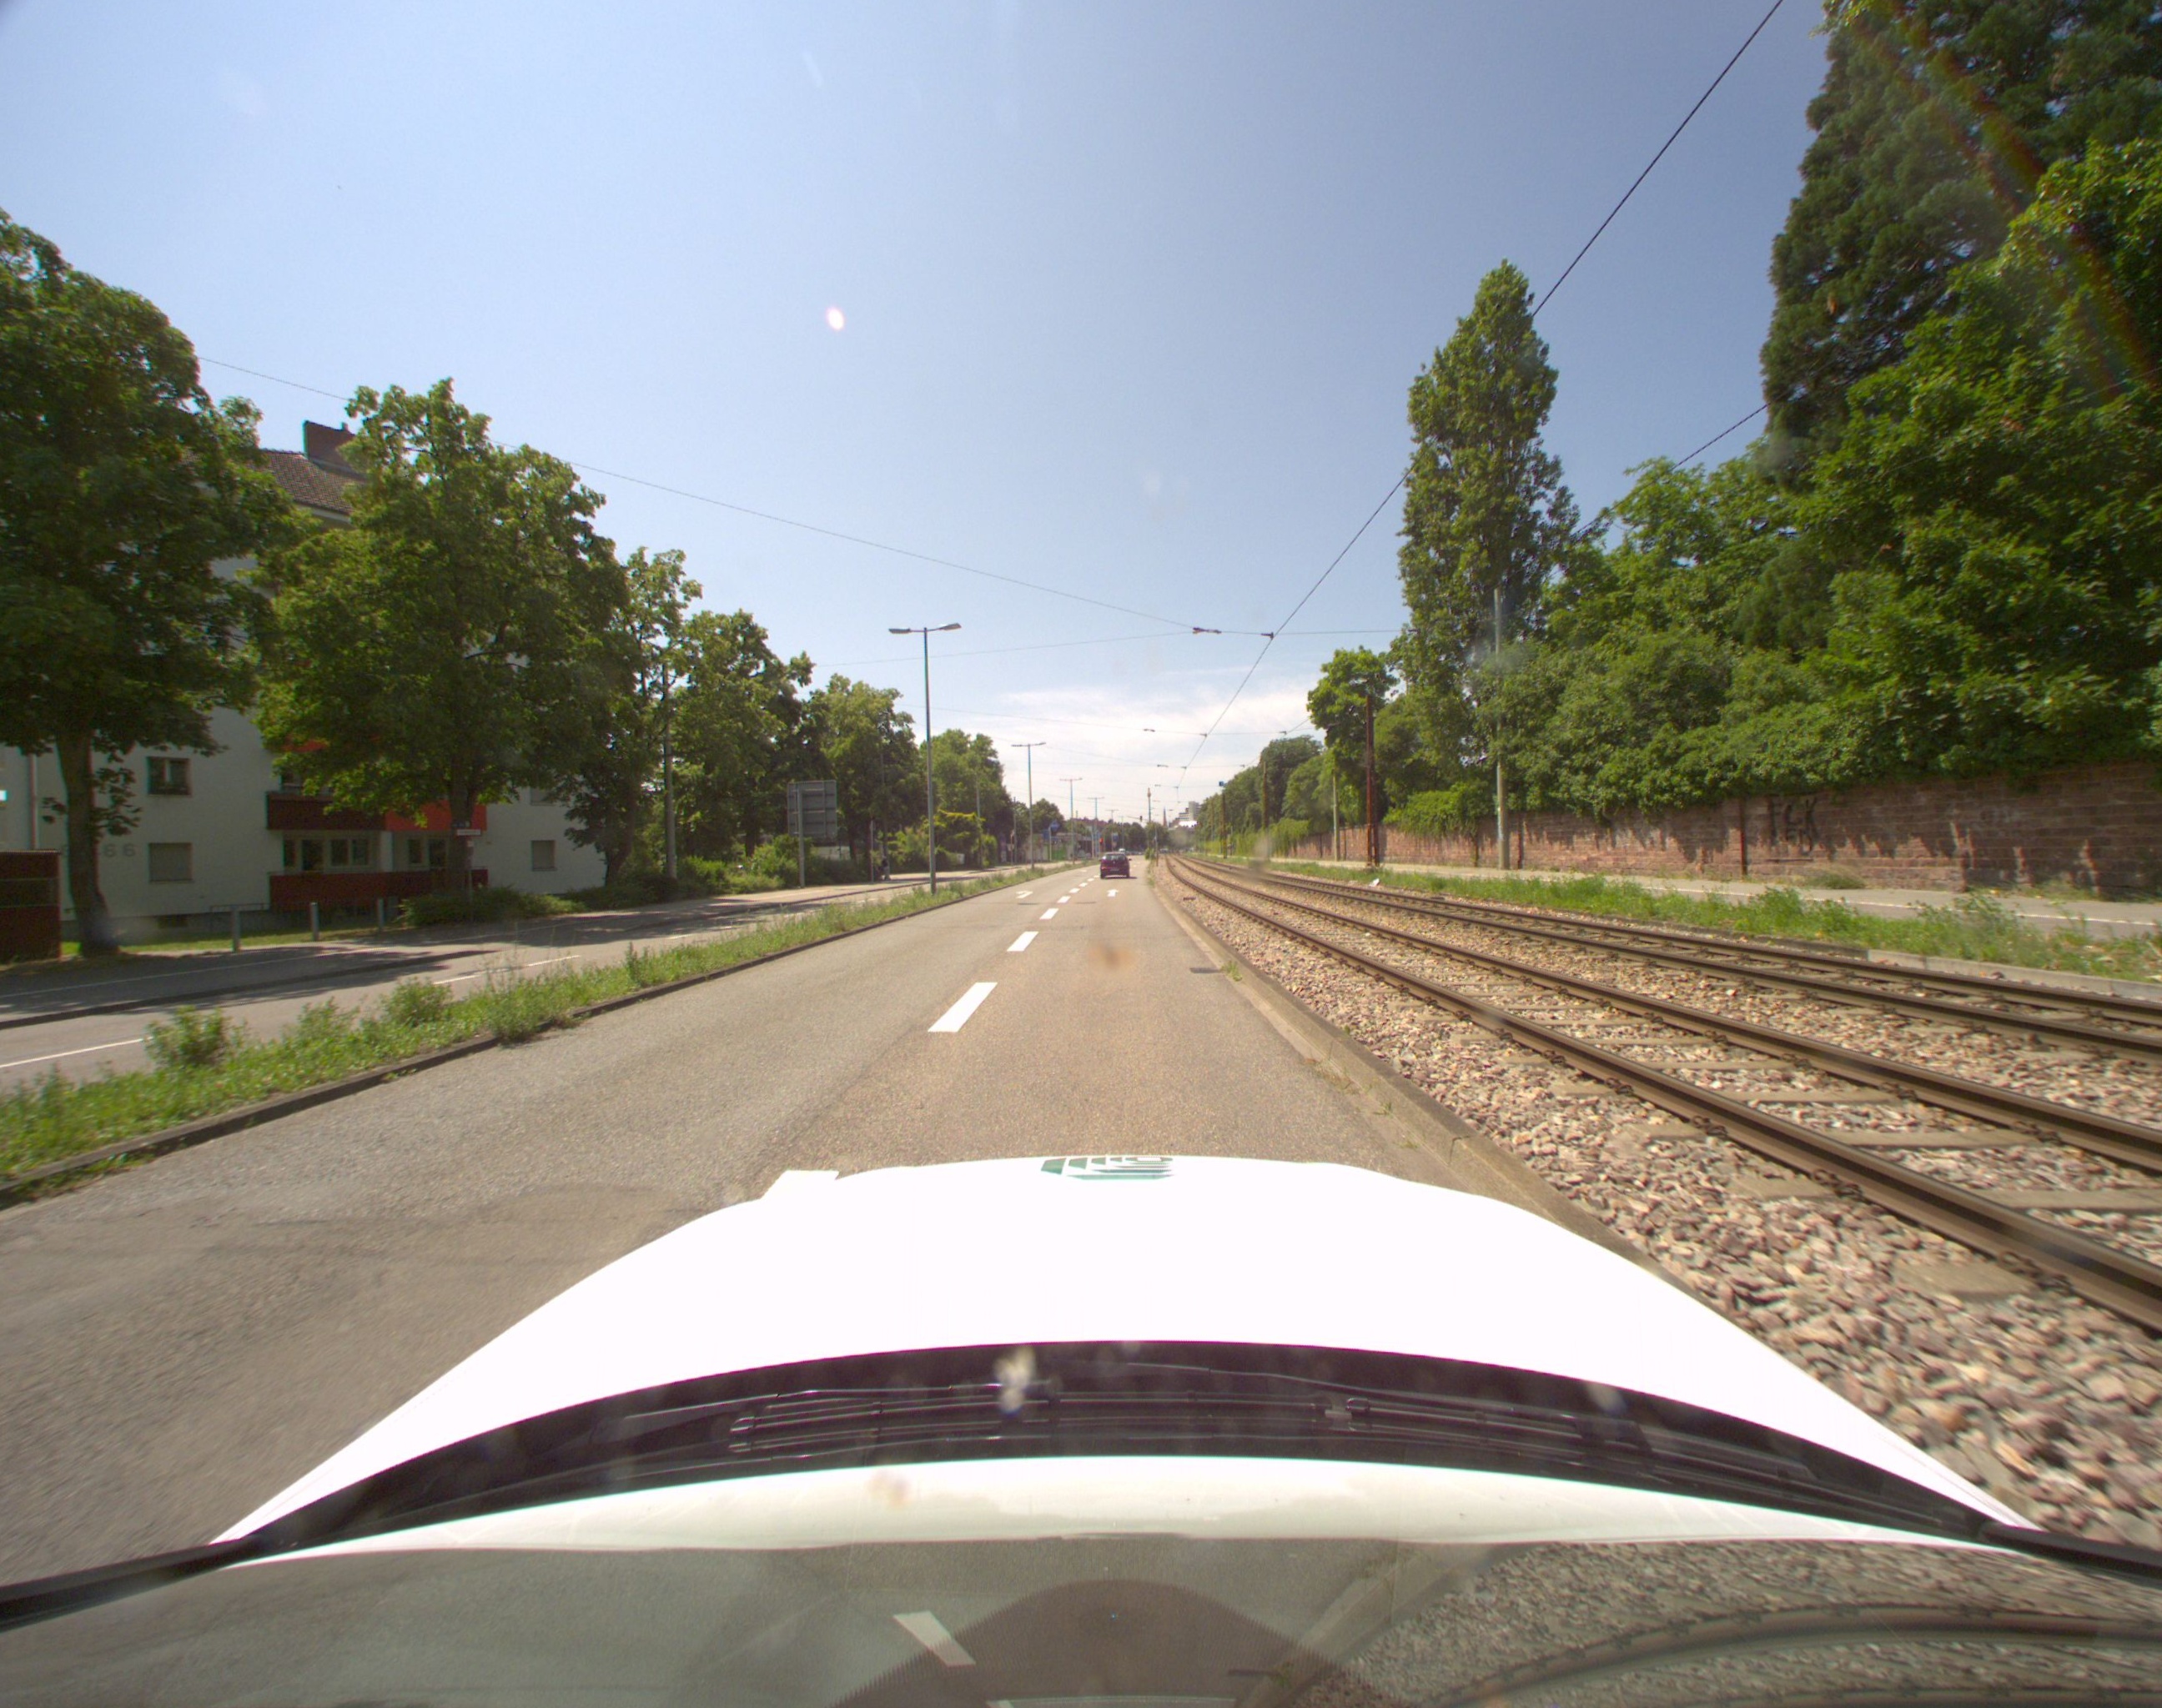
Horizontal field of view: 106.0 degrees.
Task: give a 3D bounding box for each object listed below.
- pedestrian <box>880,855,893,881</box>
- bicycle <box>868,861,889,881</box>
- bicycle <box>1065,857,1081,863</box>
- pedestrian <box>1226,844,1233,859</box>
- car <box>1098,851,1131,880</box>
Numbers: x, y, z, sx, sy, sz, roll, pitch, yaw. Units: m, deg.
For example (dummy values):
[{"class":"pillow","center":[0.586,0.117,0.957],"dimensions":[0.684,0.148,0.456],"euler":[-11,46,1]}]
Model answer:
[{"class":"pedestrian","center":[-13.457,0.968,56.335],"dimensions":[0.545,1.718,0.606],"euler":[-2,0,18]},{"class":"bicycle","center":[-14.039,1.162,56.456],"dimensions":[0.640,1.327,1.580],"euler":[-2,0,18]},{"class":"bicycle","center":[-1.421,0.978,143.146],"dimensions":[2.551,1.038,1.083],"euler":[0,-1,-11]},{"class":"pedestrian","center":[17.352,-0.272,94.974],"dimensions":[0.658,1.726,0.817],"euler":[-2,0,4]},{"class":"car","center":[1.905,0.674,46.075],"dimensions":[1.695,1.477,3.720],"euler":[-3,-1,4]}]
